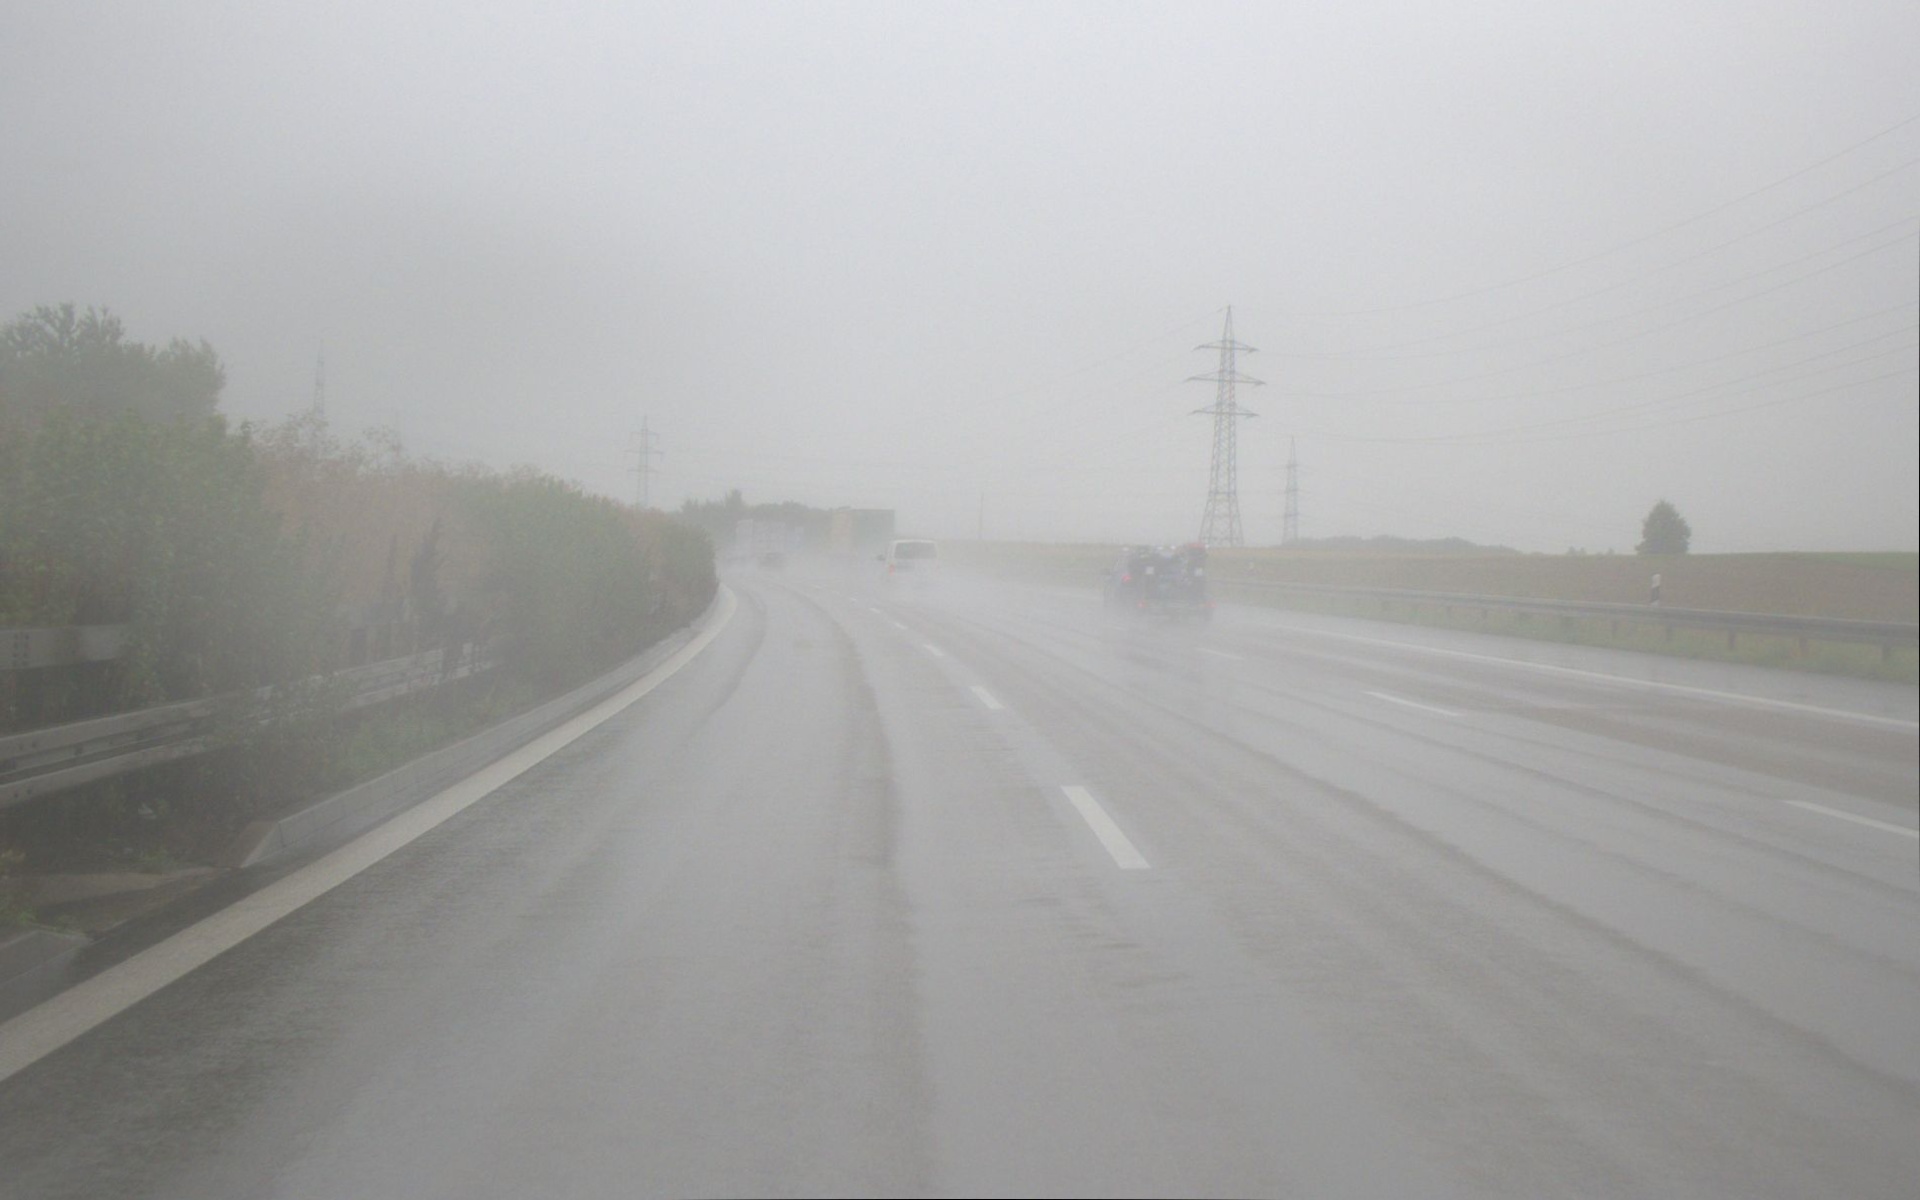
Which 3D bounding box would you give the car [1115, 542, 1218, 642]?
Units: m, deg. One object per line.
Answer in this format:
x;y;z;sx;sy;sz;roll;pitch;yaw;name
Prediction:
4.586;-0.211;76.889;1.807;2.151;4.001;1;1;-3;car

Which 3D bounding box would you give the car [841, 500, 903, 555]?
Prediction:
-5.297;-4.291;205.418;3.199;3.182;7.258;1;1;-5;car
